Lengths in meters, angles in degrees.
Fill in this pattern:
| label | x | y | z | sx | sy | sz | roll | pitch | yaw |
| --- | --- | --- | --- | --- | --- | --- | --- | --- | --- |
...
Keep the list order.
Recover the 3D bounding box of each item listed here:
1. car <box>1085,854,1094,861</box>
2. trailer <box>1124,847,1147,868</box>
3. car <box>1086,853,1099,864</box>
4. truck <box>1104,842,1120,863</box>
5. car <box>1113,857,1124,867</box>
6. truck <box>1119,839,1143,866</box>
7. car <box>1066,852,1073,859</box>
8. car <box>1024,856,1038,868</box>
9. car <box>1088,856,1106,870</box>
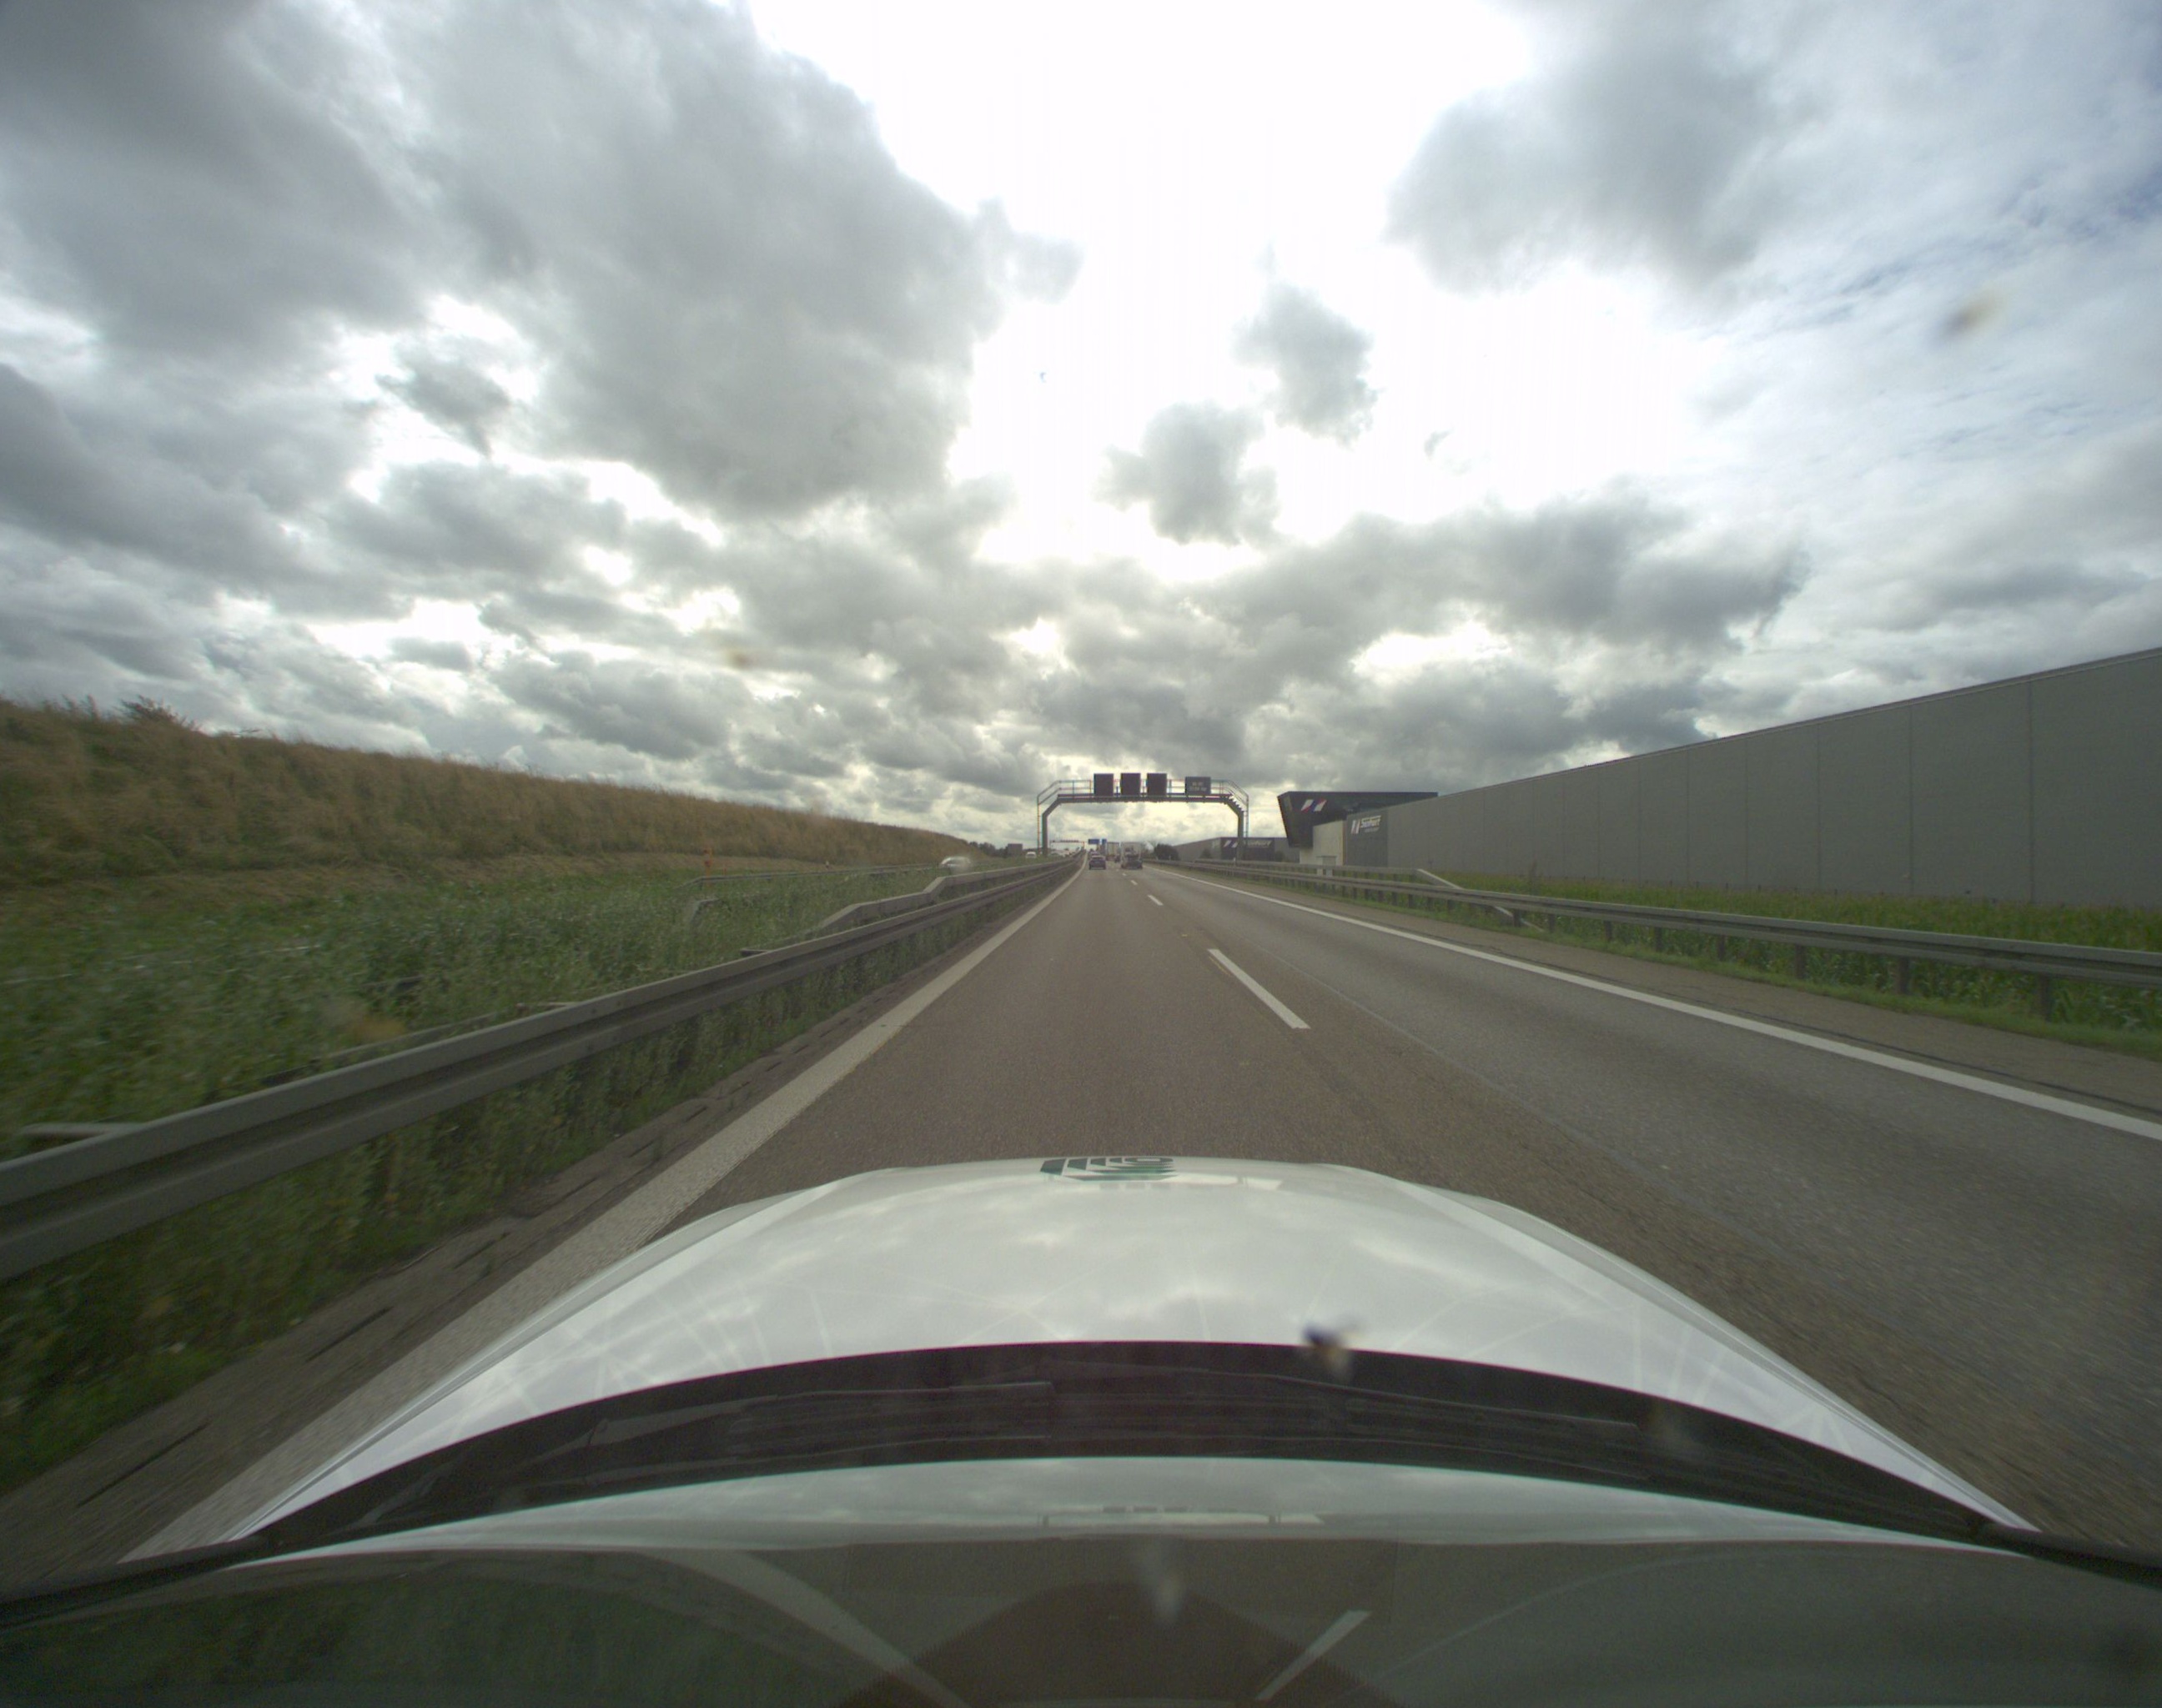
| label | x | y | z | sx | sy | sz | roll | pitch | yaw |
| --- | --- | --- | --- | --- | --- | --- | --- | --- | --- |
| car | 2.117 | 0.882 | 198.586 | 1.935 | 1.775 | 3.699 | 0 | -1 | 3 |
| trailer | 5.565 | 0.353 | 83.879 | 2.328 | 2.136 | 4.003 | 0 | -1 | 3 |
| car | 1.769 | 0.746 | 125.773 | 1.937 | 1.685 | 4.003 | 0 | -1 | 3 |
| truck | 6.855 | -0.362 | 179.581 | 3.327 | 4.534 | 8.018 | 0 | -1 | 1 |
| car | 6.245 | 1.332 | 135.415 | 1.794 | 1.685 | 4.002 | 0 | -1 | 3 |
| truck | 5.532 | -0.137 | 91.082 | 2.473 | 2.950 | 5.815 | 0 | -1 | 1 |
| car | -3.408 | 0.392 | 241.247 | 1.821 | 1.885 | 5.419 | 0 | -1 | 1 |
| car | -8.687 | 1.453 | 142.734 | 1.986 | 2.013 | 4.709 | -1 | 0 | 1 |
| car | 1.767 | 0.926 | 86.748 | 1.739 | 1.453 | 4.003 | 0 | -1 | 3 |
